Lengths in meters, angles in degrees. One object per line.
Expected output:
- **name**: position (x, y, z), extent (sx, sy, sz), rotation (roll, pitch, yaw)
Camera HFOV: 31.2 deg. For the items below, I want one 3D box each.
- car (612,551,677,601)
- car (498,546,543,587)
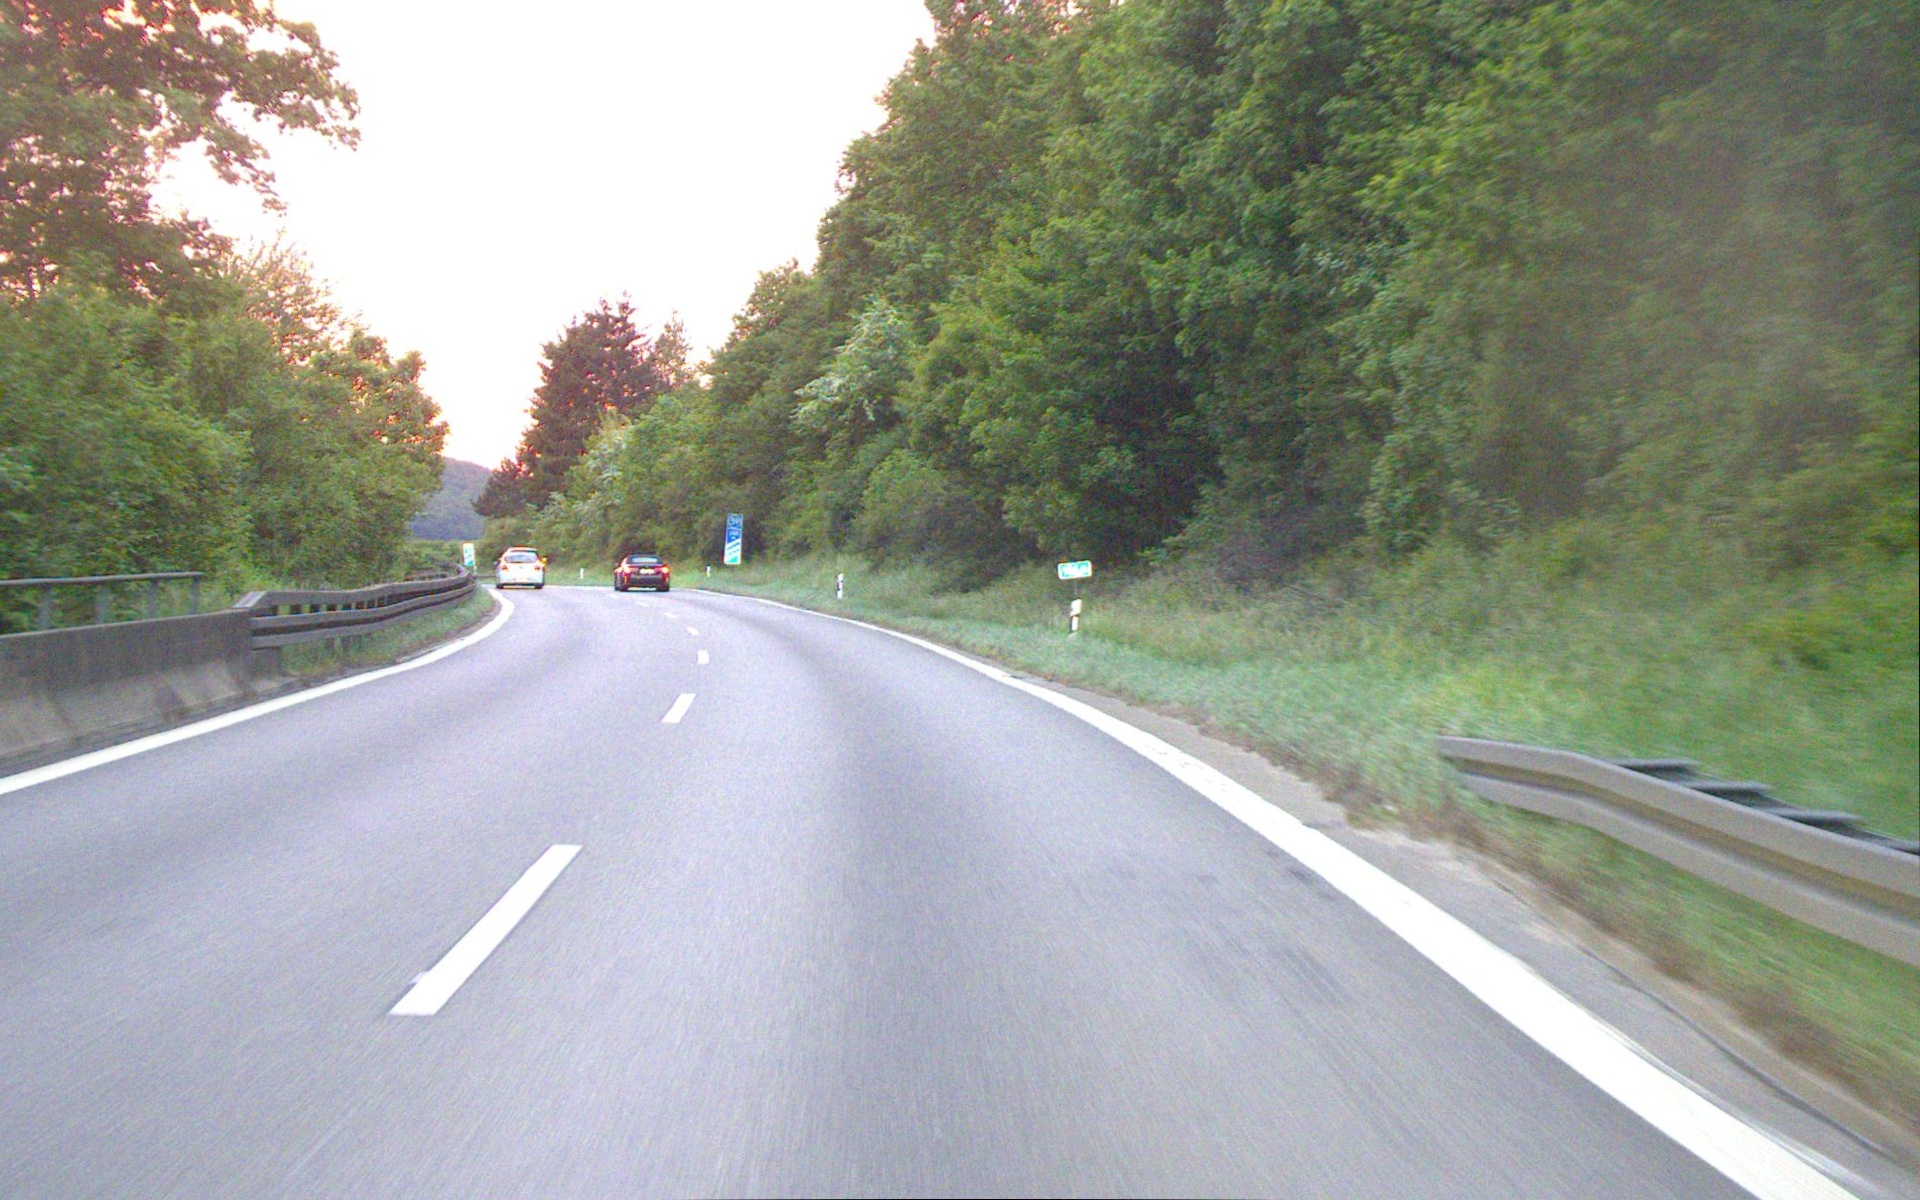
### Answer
- **car**: position (-12.187, -0.907, 132.621), extent (1.993, 1.640, 4.000), rotation (4, -3, -11)
- **car**: position (-17.613, -1.332, 137.797), extent (1.718, 1.496, 4.000), rotation (2, -1, -7)
